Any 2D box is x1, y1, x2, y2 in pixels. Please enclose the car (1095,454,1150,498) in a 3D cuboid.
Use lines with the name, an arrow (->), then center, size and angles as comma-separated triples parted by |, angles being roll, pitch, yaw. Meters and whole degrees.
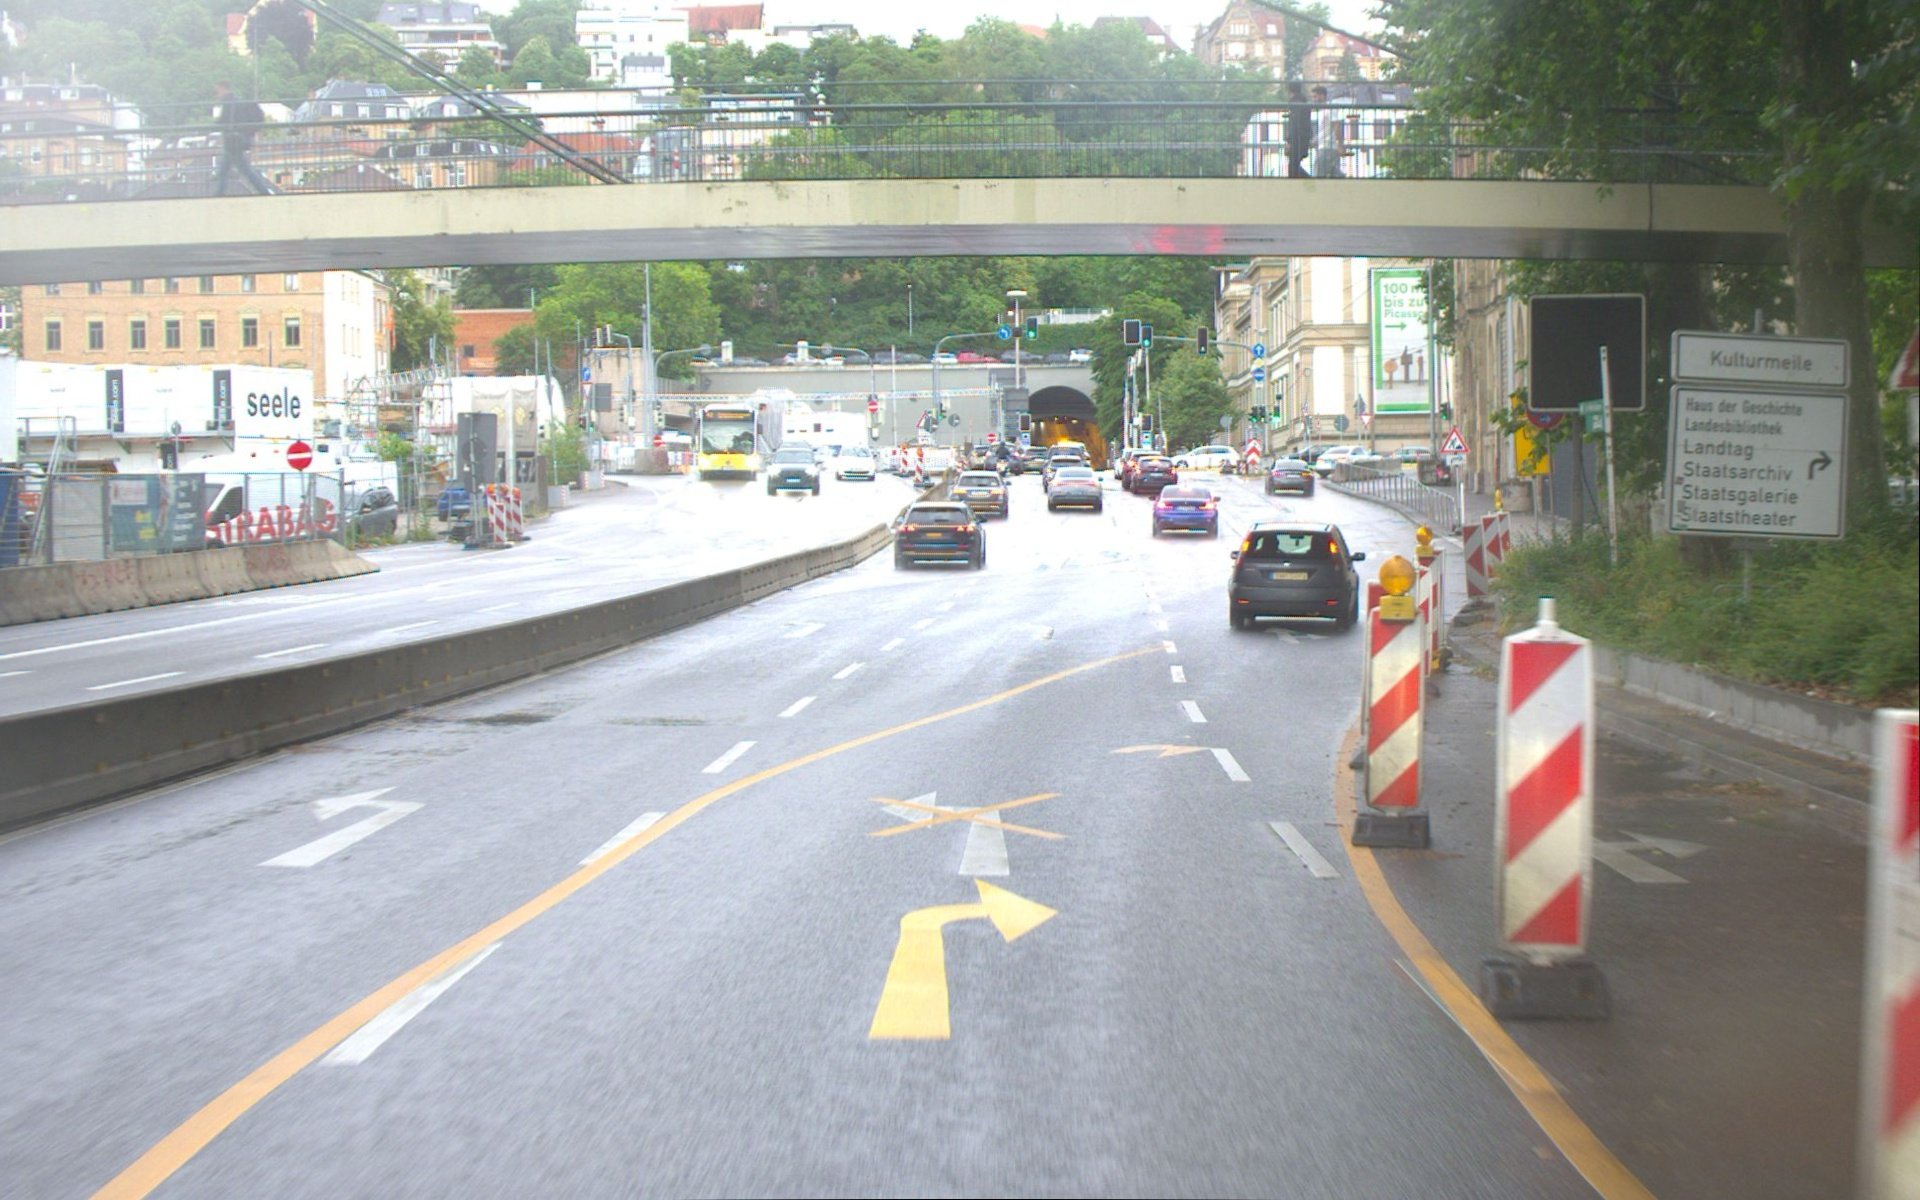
car -> 6.734, -5.140, 142.900 | 1.993, 1.693, 4.000 | -1, 1, -1

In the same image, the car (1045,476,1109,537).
car -> 3.981, -3.179, 117.484 | 2.051, 2.007, 4.000 | -1, 1, 0

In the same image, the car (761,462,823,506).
car -> -6.458, -4.480, 132.441 | 2.081, 1.625, 4.853 | -1, 2, 0

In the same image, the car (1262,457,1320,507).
car -> 13.355, -4.770, 138.798 | 1.993, 2.006, 4.000 | 0, 2, 1

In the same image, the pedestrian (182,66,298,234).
pedestrian -> -9.515, -5.940, 45.486 | 1.148, 2.053, 1.059 | -1, 1, 10

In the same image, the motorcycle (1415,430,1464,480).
motorcycle -> 20.076, -6.104, 144.040 | 1.796, 2.006, 3.813 | -1, 3, 5

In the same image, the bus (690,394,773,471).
bus -> -9.900, -7.254, 149.834 | 2.806, 3.173, 8.808 | -1, 2, 1

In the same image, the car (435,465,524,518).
car -> -15.577, -3.540, 111.656 | 1.994, 1.616, 4.000 | -1, 3, 5

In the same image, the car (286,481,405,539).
car -> -17.482, -2.556, 98.041 | 1.762, 1.560, 4.681 | -1, 1, 11

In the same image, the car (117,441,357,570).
car -> -16.815, -2.204, 80.282 | 1.996, 2.865, 6.043 | -1, 1, 28

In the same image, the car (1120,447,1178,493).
car -> 7.495, -5.134, 136.536 | 1.993, 1.693, 4.000 | -1, 1, -1

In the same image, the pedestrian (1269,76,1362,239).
pedestrian -> 4.858, -6.026, 46.952 | 1.148, 2.053, 1.059 | -1, 1, 10

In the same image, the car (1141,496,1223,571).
car -> 6.275, -1.869, 97.414 | 2.105, 2.043, 4.000 | -1, 1, 1

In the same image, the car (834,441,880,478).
car -> -4.448, -6.061, 148.627 | 1.709, 1.484, 3.450 | -1, 1, 3

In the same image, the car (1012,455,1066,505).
car -> 3.106, -4.735, 136.300 | 1.993, 1.863, 4.000 | -1, 1, 0

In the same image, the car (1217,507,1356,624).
car -> 4.603, -0.508, 48.086 | 1.812, 1.521, 3.999 | -2, 1, 6

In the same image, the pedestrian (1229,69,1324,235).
pedestrian -> 4.245, -5.982, 46.005 | 1.148, 2.053, 1.059 | -1, 1, 10

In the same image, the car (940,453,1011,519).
car -> 0.530, -3.642, 110.293 | 1.994, 2.007, 4.000 | -1, 1, 4

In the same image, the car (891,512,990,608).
car -> -0.407, -0.891, 75.463 | 2.017, 2.007, 4.000 | -1, 1, 1
